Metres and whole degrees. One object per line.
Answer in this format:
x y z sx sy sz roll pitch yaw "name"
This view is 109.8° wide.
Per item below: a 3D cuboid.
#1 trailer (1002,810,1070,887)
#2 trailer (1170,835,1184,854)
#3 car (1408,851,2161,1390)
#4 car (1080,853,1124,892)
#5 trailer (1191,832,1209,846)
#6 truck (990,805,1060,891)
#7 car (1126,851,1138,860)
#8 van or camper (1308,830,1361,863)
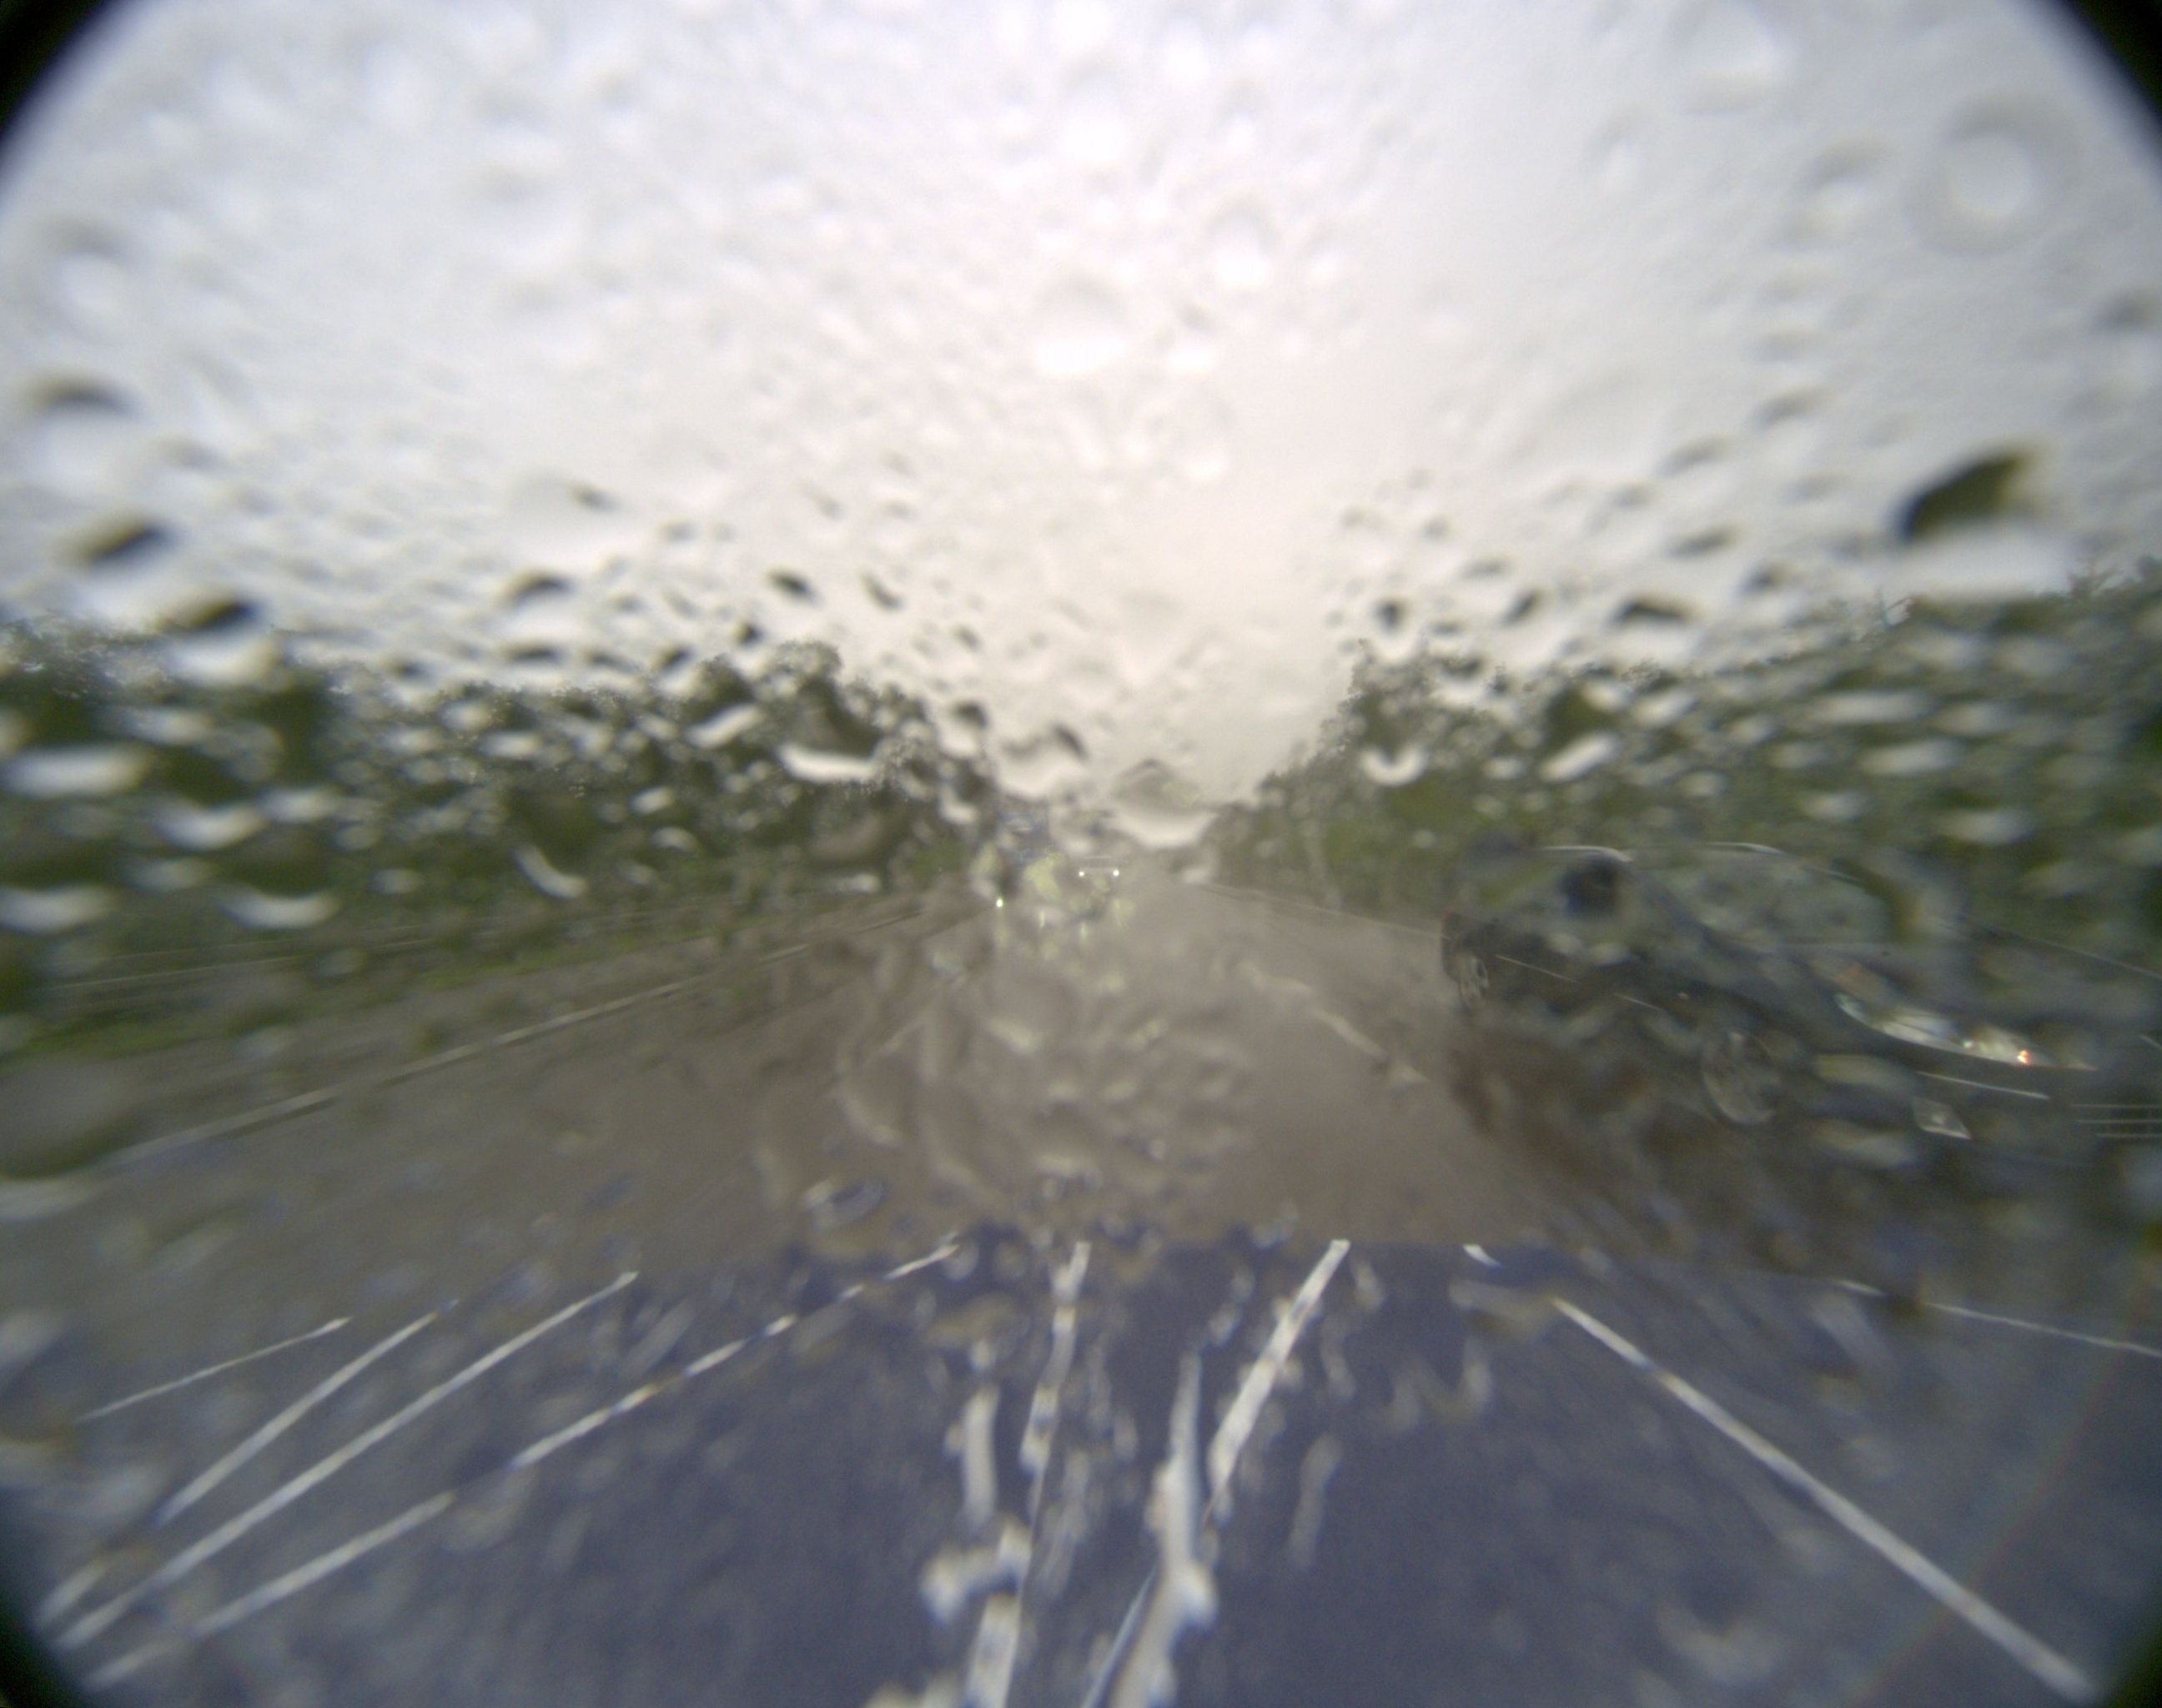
-2.467 -0.348 47.318 2.750 3.941 14.129 -2 0 2 "trailer"
29.730 -2.909 236.284 3.436 5.425 11.549 -2 0 3 "trailer"
4.102 0.772 4.753 2.059 1.477 5.158 -2 0 3 "car"
0.954 0.764 33.473 1.751 1.545 4.091 -2 0 3 "car"
31.257 -3.853 199.955 3.436 3.364 11.549 -2 0 3 "trailer"
-2.777 -0.321 39.617 2.755 4.055 6.483 -2 1 2 "truck"
9.232 0.293 136.844 1.900 1.533 4.090 -2 0 2 "car"
19.967 -0.573 60.231 2.290 2.395 5.892 -2 0 2 "van or camper"
